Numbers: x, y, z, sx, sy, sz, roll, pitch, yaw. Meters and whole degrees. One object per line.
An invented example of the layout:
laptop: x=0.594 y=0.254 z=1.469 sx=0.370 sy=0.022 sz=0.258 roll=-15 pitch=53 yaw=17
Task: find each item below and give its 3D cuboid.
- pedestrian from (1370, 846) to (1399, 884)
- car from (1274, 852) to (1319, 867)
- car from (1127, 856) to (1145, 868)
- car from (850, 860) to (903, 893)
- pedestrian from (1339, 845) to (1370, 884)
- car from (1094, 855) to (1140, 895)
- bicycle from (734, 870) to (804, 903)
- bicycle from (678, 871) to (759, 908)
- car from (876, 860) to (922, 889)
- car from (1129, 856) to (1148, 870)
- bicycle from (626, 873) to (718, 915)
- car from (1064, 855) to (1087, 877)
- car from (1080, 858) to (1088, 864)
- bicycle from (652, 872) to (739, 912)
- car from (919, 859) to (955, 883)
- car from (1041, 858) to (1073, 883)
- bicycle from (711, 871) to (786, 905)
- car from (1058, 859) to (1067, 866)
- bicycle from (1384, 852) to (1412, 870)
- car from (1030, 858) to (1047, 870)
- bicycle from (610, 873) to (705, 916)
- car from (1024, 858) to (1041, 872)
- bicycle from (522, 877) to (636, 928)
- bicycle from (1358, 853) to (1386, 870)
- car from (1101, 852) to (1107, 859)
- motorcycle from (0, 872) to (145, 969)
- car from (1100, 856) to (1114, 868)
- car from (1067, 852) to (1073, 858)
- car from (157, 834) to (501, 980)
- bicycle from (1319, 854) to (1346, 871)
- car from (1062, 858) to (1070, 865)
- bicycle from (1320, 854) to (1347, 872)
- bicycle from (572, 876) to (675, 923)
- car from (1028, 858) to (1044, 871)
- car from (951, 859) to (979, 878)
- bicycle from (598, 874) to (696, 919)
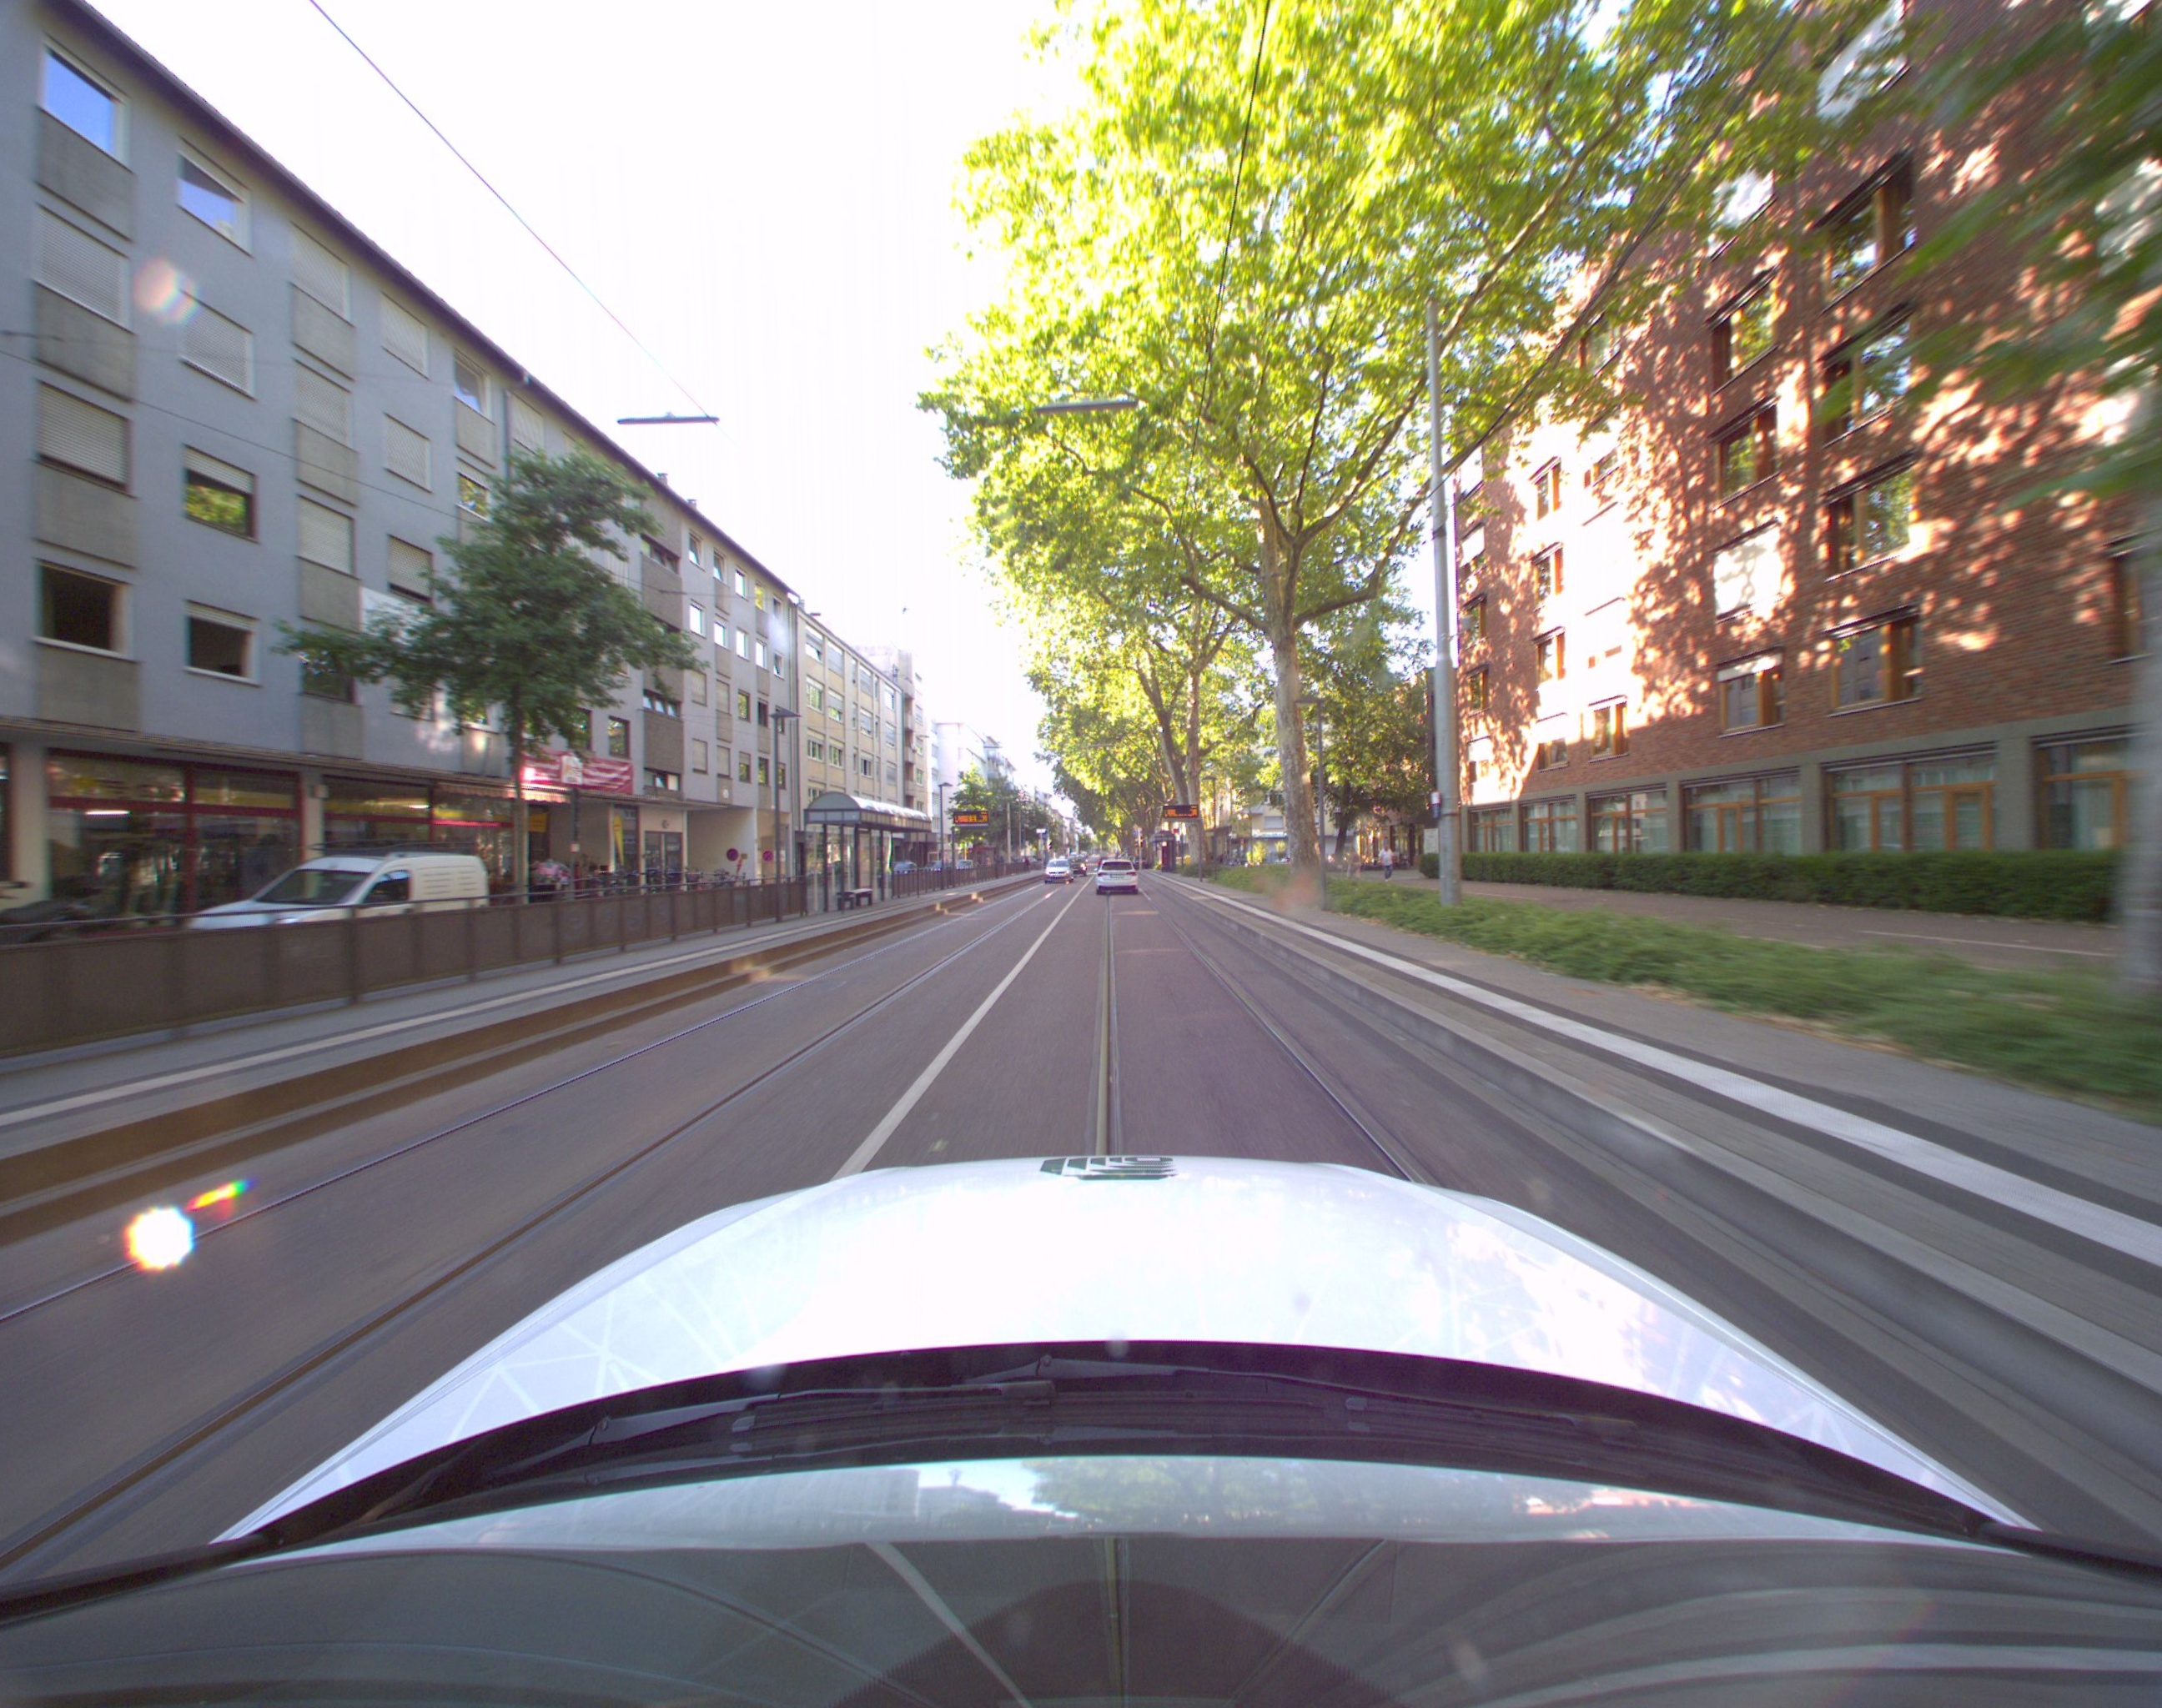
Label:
pedestrian: x=13.587 y=0.491 z=36.469 sx=0.968 sy=1.623 sz=0.888 roll=-1 pitch=0 yaw=1
car: x=21.060 y=0.536 z=79.638 sx=3.970 sy=1.372 sz=1.869 roll=-1 pitch=0 yaw=3
car: x=6.615 y=0.970 z=98.815 sx=1.986 sy=1.453 sz=4.002 roll=-1 pitch=0 yaw=2
car: x=-10.497 y=1.110 z=42.000 sx=1.587 sy=1.548 sz=4.002 roll=1 pitch=0 yaw=2
pedestrian: x=11.502 y=0.441 z=34.269 sx=0.968 sy=1.623 sz=0.888 roll=-1 pitch=0 yaw=1
car: x=1.474 y=0.834 z=34.101 sx=1.781 sy=1.513 sz=4.002 roll=-1 pitch=0 yaw=2
bicycle: x=-11.297 y=1.162 z=29.491 sx=2.243 sy=1.074 sz=0.637 roll=2 pitch=0 yaw=2
bicycle: x=-11.554 y=1.135 z=25.985 sx=2.243 sy=1.074 sz=0.637 roll=2 pitch=0 yaw=2
car: x=-10.262 y=1.129 z=46.246 sx=1.587 sy=1.548 sz=4.002 roll=1 pitch=0 yaw=2
car: x=6.629 y=1.042 z=93.724 sx=1.986 sy=1.453 sz=4.002 roll=-1 pitch=0 yaw=2
bicycle: x=-11.513 y=1.118 z=22.972 sx=2.243 sy=1.074 sz=0.637 roll=2 pitch=0 yaw=2
car: x=-0.394 y=0.930 z=65.259 sx=1.687 sy=1.644 sz=4.002 roll=-1 pitch=0 yaw=2
car: x=0.769 y=1.656 z=198.260 sx=1.781 sy=1.513 sz=4.002 roll=-1 pitch=0 yaw=2
bicycle: x=-11.461 y=1.124 z=24.235 sx=2.243 sy=1.074 sz=0.637 roll=2 pitch=0 yaw=2
car: x=-10.200 y=1.181 z=57.955 sx=1.671 sy=1.548 sz=4.001 roll=1 pitch=0 yaw=2
car: x=-1.441 y=0.984 z=50.572 sx=1.687 sy=1.419 sz=4.002 roll=-1 pitch=0 yaw=2
bicycle: x=-11.345 y=1.154 z=27.813 sx=2.243 sy=1.074 sz=0.637 roll=2 pitch=0 yaw=2
car: x=-4.279 y=1.862 z=187.930 sx=1.781 sy=1.513 sz=4.002 roll=-1 pitch=0 yaw=2
bicycle: x=19.663 y=0.435 z=50.525 sx=1.552 sy=1.037 sz=0.482 roll=-2 pitch=0 yaw=24
car: x=-5.629 y=1.358 z=108.050 sx=1.787 sy=1.510 sz=4.001 roll=1 pitch=0 yaw=2
bicycle: x=-11.607 y=1.099 z=22.339 sx=2.243 sy=1.074 sz=0.637 roll=2 pitch=0 yaw=2
car: x=-5.909 y=1.318 z=99.683 sx=1.671 sy=1.548 sz=4.001 roll=1 pitch=0 yaw=2
bicycle: x=-11.622 y=1.108 z=18.891 sx=2.243 sy=1.074 sz=0.637 roll=2 pitch=0 yaw=2
bicycle: x=18.063 y=0.467 z=50.542 sx=1.552 sy=1.037 sz=0.482 roll=-2 pitch=0 yaw=23
car: x=6.761 y=0.369 z=239.779 sx=1.859 sy=1.892 sz=4.002 roll=-1 pitch=0 yaw=2
motorcycle: x=-15.317 y=0.953 z=11.922 sx=0.596 sy=1.311 sz=2.223 roll=-1 pitch=0 yaw=2
car: x=3.502 y=1.036 z=110.383 sx=1.781 sy=1.513 sz=4.002 roll=-1 pitch=0 yaw=2
car: x=-3.459 y=0.307 z=251.878 sx=1.781 sy=1.513 sz=4.002 roll=-1 pitch=0 yaw=2
car: x=-11.654 y=0.728 z=13.069 sx=1.682 sy=1.940 sz=4.002 roll=-2 pitch=0 yaw=2
bicycle: x=15.857 y=0.562 z=51.426 sx=1.552 sy=1.037 sz=0.507 roll=-2 pitch=0 yaw=23
car: x=-3.818 y=1.844 z=204.092 sx=1.781 sy=1.513 sz=4.002 roll=-1 pitch=0 yaw=2
bicycle: x=15.659 y=0.561 z=50.514 sx=1.552 sy=1.037 sz=0.482 roll=-2 pitch=0 yaw=23
bicycle: x=-11.521 y=1.127 z=20.537 sx=2.243 sy=1.074 sz=0.637 roll=2 pitch=0 yaw=2
car: x=-5.748 y=1.337 z=103.877 sx=1.671 sy=1.548 sz=4.001 roll=1 pitch=0 yaw=2
car: x=-9.932 y=1.245 z=69.902 sx=1.671 sy=1.548 sz=4.001 roll=1 pitch=0 yaw=2
bicycle: x=-11.578 y=1.122 z=21.743 sx=2.243 sy=1.074 sz=0.637 roll=2 pitch=0 yaw=2
